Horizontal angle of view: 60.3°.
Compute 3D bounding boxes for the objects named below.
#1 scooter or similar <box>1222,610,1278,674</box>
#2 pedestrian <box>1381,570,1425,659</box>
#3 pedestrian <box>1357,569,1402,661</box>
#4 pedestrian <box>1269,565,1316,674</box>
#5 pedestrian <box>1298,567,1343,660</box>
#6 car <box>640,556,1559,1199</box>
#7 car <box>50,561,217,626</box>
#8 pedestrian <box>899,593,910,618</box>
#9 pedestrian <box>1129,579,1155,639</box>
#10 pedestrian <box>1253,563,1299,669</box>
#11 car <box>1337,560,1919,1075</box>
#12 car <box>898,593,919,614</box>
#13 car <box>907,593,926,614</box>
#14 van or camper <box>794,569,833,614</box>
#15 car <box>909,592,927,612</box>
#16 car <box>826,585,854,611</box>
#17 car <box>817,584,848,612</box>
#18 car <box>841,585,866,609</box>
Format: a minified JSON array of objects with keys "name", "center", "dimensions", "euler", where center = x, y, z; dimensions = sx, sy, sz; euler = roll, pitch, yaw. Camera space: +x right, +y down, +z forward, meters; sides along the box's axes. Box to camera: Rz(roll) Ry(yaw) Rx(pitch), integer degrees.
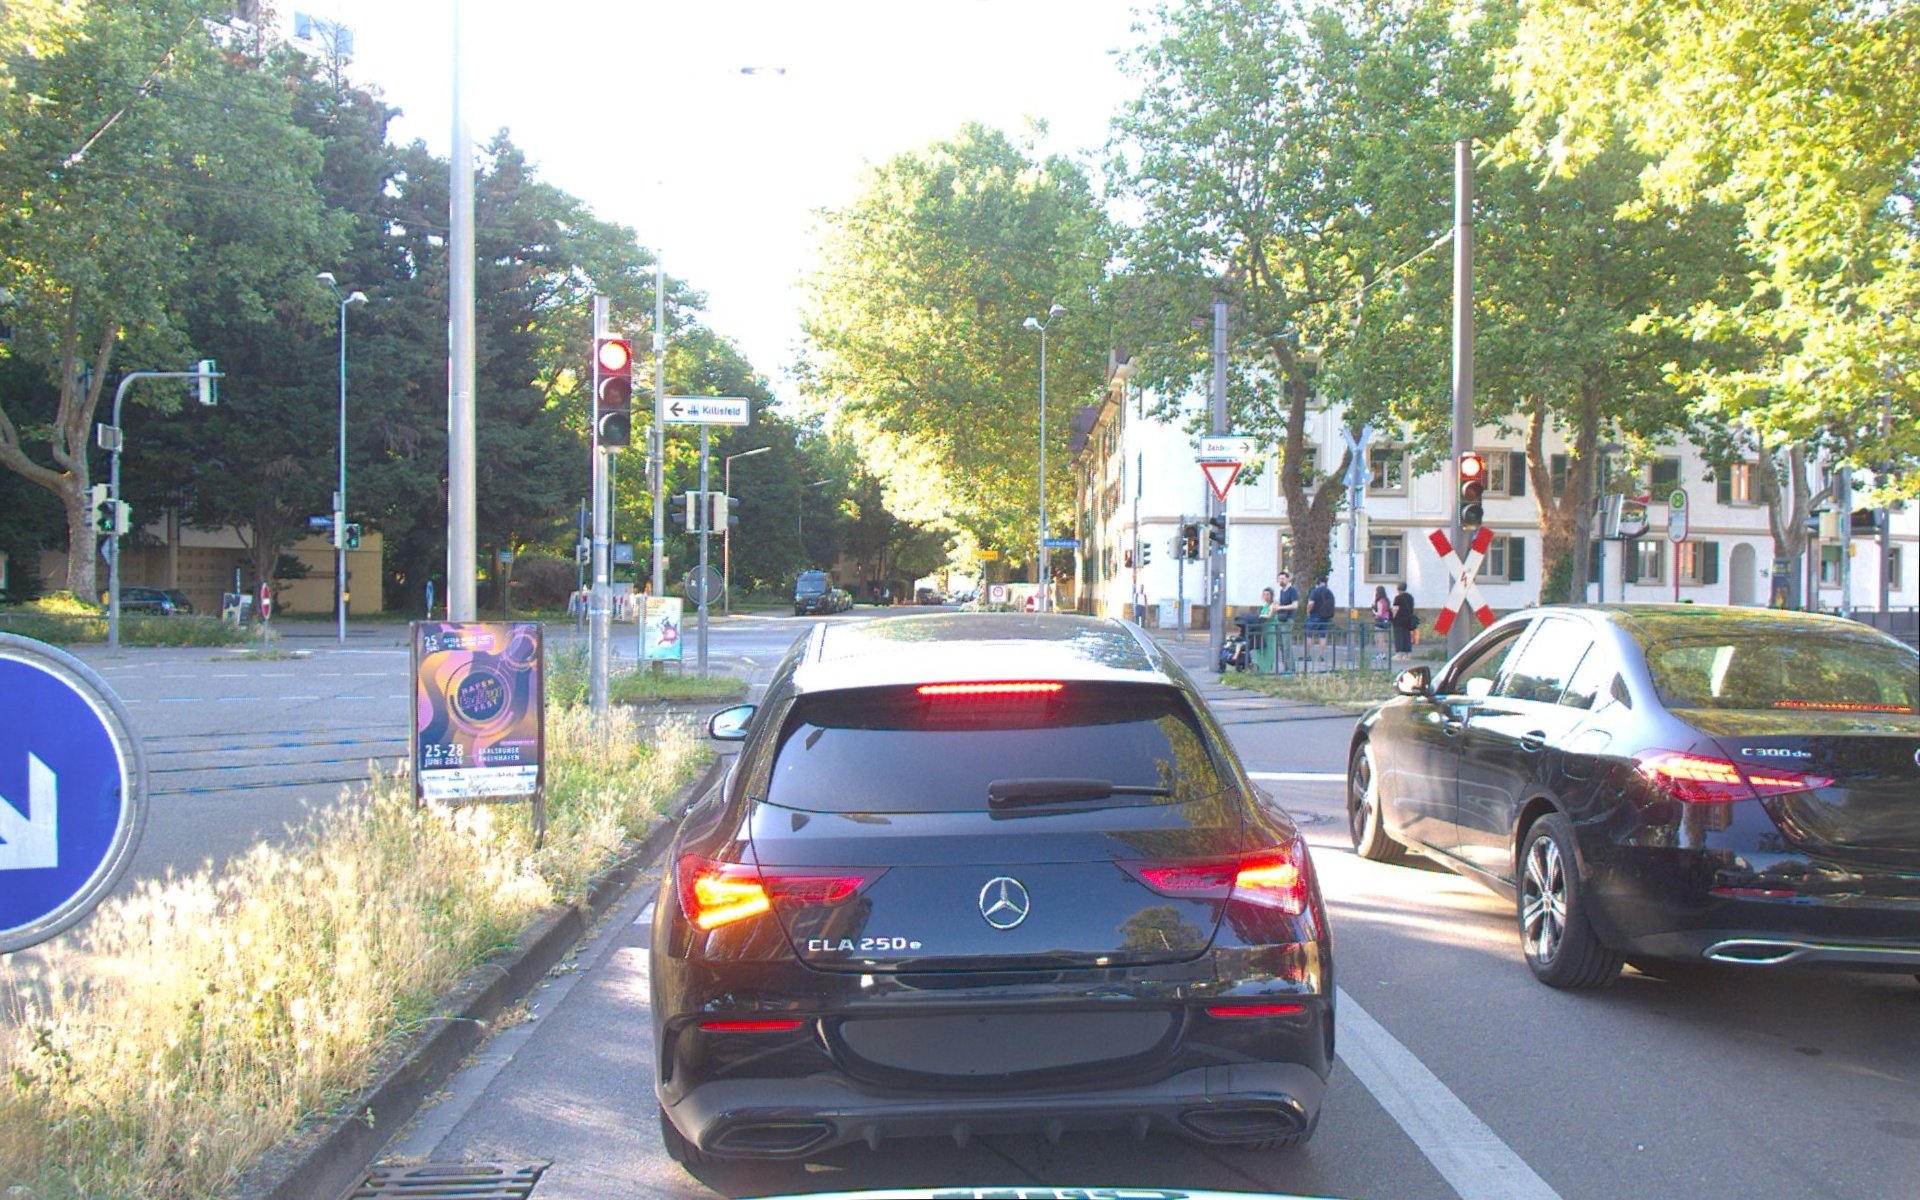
[{"name":"scooter or similar","center":[5.279,0.758,30.169],"dimensions":[0.812,1.124,0.808],"euler":[1,0,-6]},{"name":"pedestrian","center":[9.858,0.314,36.803],"dimensions":[0.691,1.951,0.838],"euler":[1,-1,-4]},{"name":"pedestrian","center":[9.068,0.327,35.791],"dimensions":[0.691,1.951,0.838],"euler":[1,-1,-4]},{"name":"pedestrian","center":[6.069,0.357,30.194],"dimensions":[0.669,1.951,0.707],"euler":[1,-1,-3]},{"name":"pedestrian","center":[7.707,0.290,35.386],"dimensions":[0.691,1.951,0.838],"euler":[1,-1,-4]},{"name":"car","center":[0.299,0.639,5.384],"dimensions":[1.851,1.475,4.001],"euler":[1,2,0]},{"name":"car","center":[-24.375,-0.186,48.839],"dimensions":[3.902,1.805,2.001],"euler":[1,0,7]},{"name":"pedestrian","center":[-4.366,0.450,129.941],"dimensions":[0.692,1.951,0.837],"euler":[1,-1,-11]},{"name":"pedestrian","center":[5.943,0.286,54.137],"dimensions":[0.691,1.951,0.838],"euler":[1,-1,-4]},{"name":"pedestrian","center":[5.912,0.304,30.964],"dimensions":[0.669,1.951,0.706],"euler":[1,-1,-5]},{"name":"car","center":[3.102,0.632,7.298],"dimensions":[1.851,1.516,4.382],"euler":[1,2,0]},{"name":"car","center":[-4.531,0.344,145.477],"dimensions":[1.698,1.796,4.018],"euler":[1,0,-1]},{"name":"car","center":[-3.956,0.313,150.307],"dimensions":[1.698,1.796,4.018],"euler":[1,0,-1]},{"name":"van or camper","center":[-8.794,-0.490,99.600],"dimensions":[1.953,2.586,4.650],"euler":[1,0,-1]},{"name":"car","center":[-4.005,0.202,158.390],"dimensions":[1.698,1.796,4.018],"euler":[1,0,-1]},{"name":"car","center":[-8.472,-0.145,116.686],"dimensions":[1.698,1.796,4.084],"euler":[1,0,-1]},{"name":"car","center":[-8.368,-0.105,108.816],"dimensions":[1.698,1.796,4.340],"euler":[1,0,-1]},{"name":"car","center":[-8.129,-0.232,126.269],"dimensions":[1.698,1.796,3.970],"euler":[1,0,-1]}]
